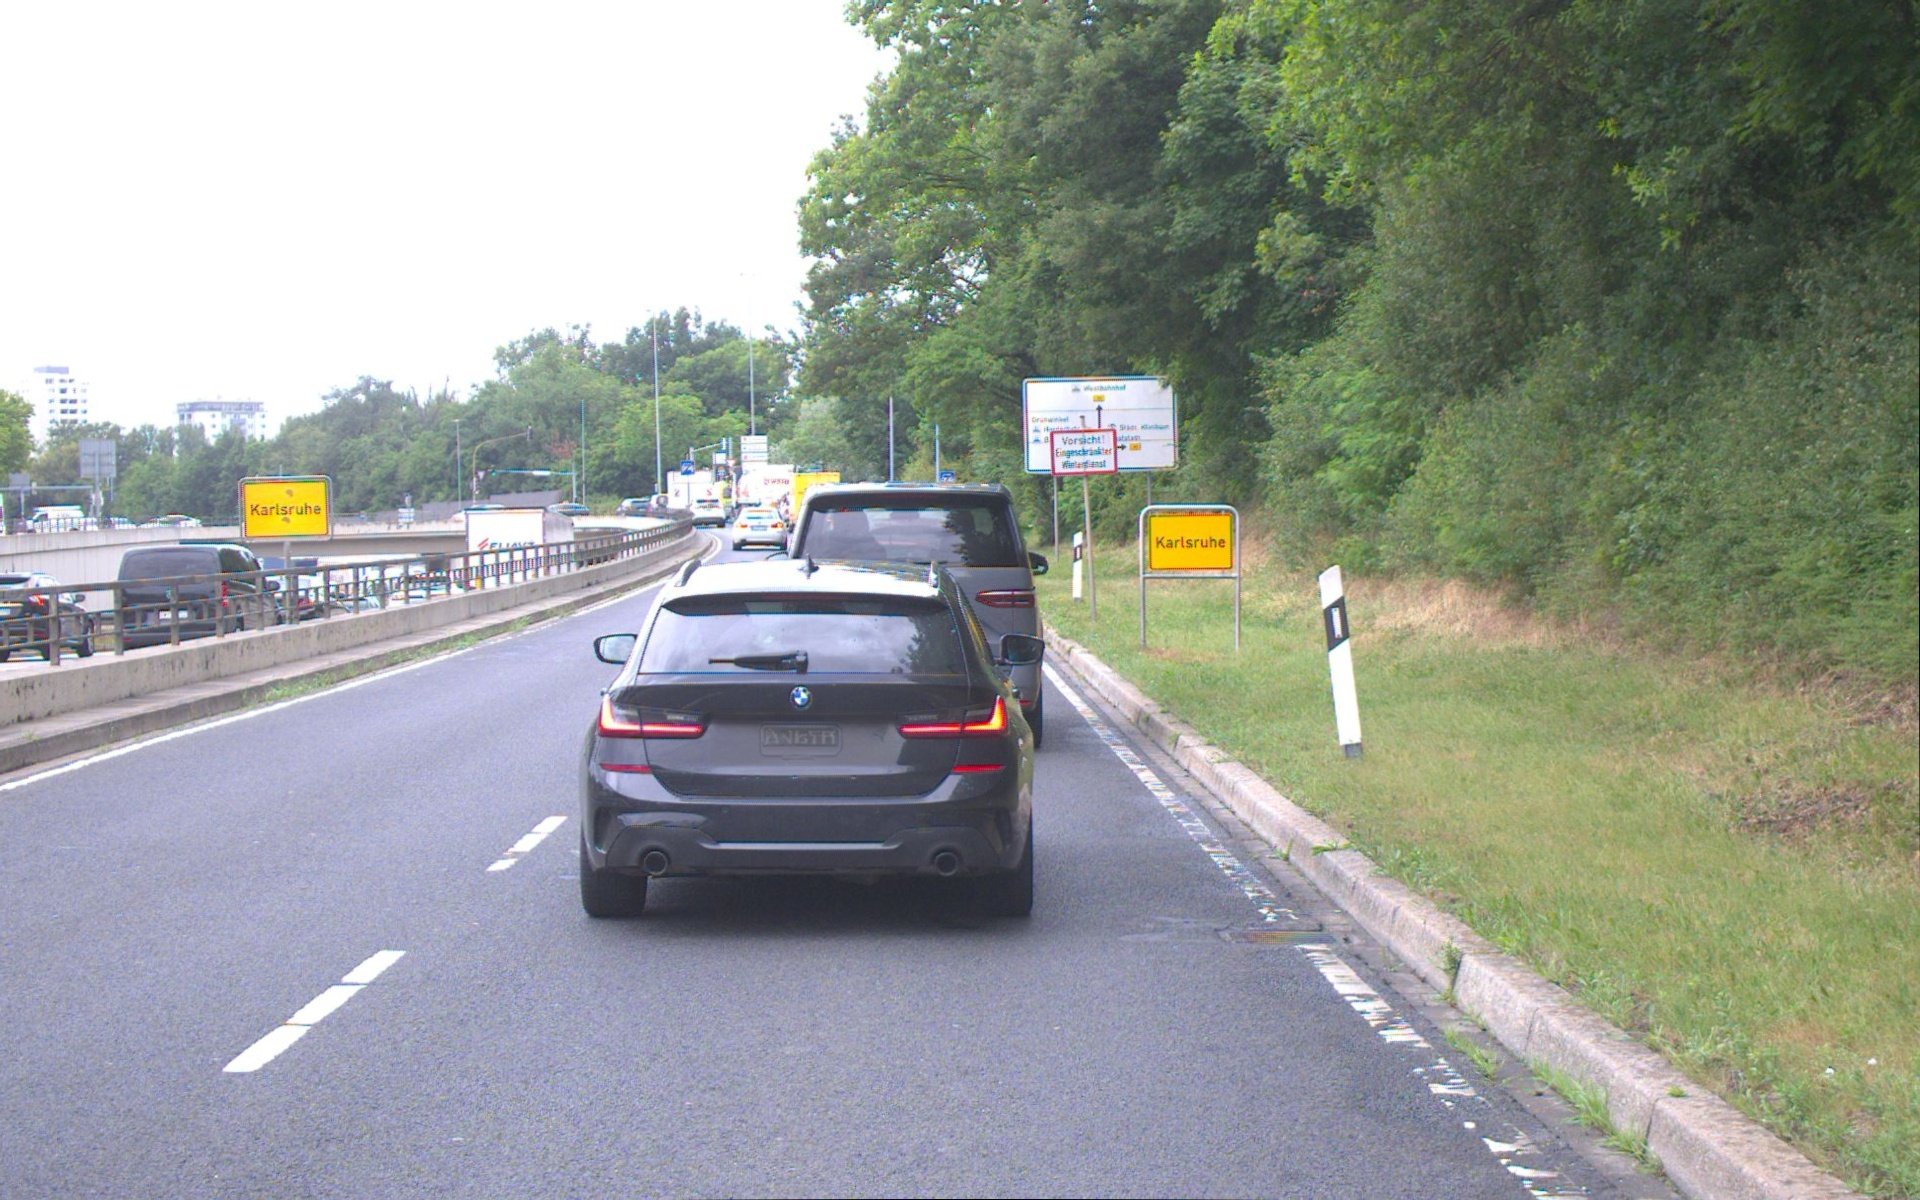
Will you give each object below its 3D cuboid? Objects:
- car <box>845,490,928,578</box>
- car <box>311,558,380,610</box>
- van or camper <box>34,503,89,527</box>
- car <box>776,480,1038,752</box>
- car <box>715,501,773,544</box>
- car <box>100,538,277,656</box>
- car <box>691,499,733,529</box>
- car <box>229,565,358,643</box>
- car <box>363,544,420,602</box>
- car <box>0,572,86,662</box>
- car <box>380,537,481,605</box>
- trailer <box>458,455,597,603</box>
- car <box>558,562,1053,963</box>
[{"bbox_3d":[-1.326,-1.195,62.440,1.452,1.535,3.225,-1,1,-1],"label":"car"},{"bbox_3d":[-20.070,-0.548,112.390,1.687,1.626,3.735,1,1,-2],"label":"car"},{"bbox_3d":[-62.008,-5.884,237.293,3.567,1.585,1.752,1,1,-10],"label":"van or camper"},{"bbox_3d":[-0.388,0.074,25.653,1.796,1.865,4.000,0,1,-1],"label":"car"},{"bbox_3d":[-7.509,-2.695,119.820,1.859,1.459,4.885,0,1,-2],"label":"car"},{"bbox_3d":[-12.615,-0.091,56.462,1.993,1.845,4.812,0,1,-2],"label":"car"},{"bbox_3d":[-13.665,-4.714,189.425,1.930,1.590,3.878,-1,1,-9],"label":"car"},{"bbox_3d":[-13.349,0.056,69.096,1.712,1.452,4.666,0,1,0],"label":"car"},{"bbox_3d":[-20.497,-1.000,124.026,1.443,2.037,3.680,-1,1,0],"label":"car"},{"bbox_3d":[-17.908,0.301,65.357,1.687,1.602,4.008,1,1,-2],"label":"car"},{"bbox_3d":[-13.762,-0.770,89.543,1.946,1.686,4.507,-1,1,0],"label":"car"},{"bbox_3d":[-14.608,-2.374,117.354,3.132,4.709,14.559,1,1,-1],"label":"trailer"},{"bbox_3d":[-0.665,0.586,14.871,1.846,1.461,4.001,0,1,-3],"label":"car"}]
